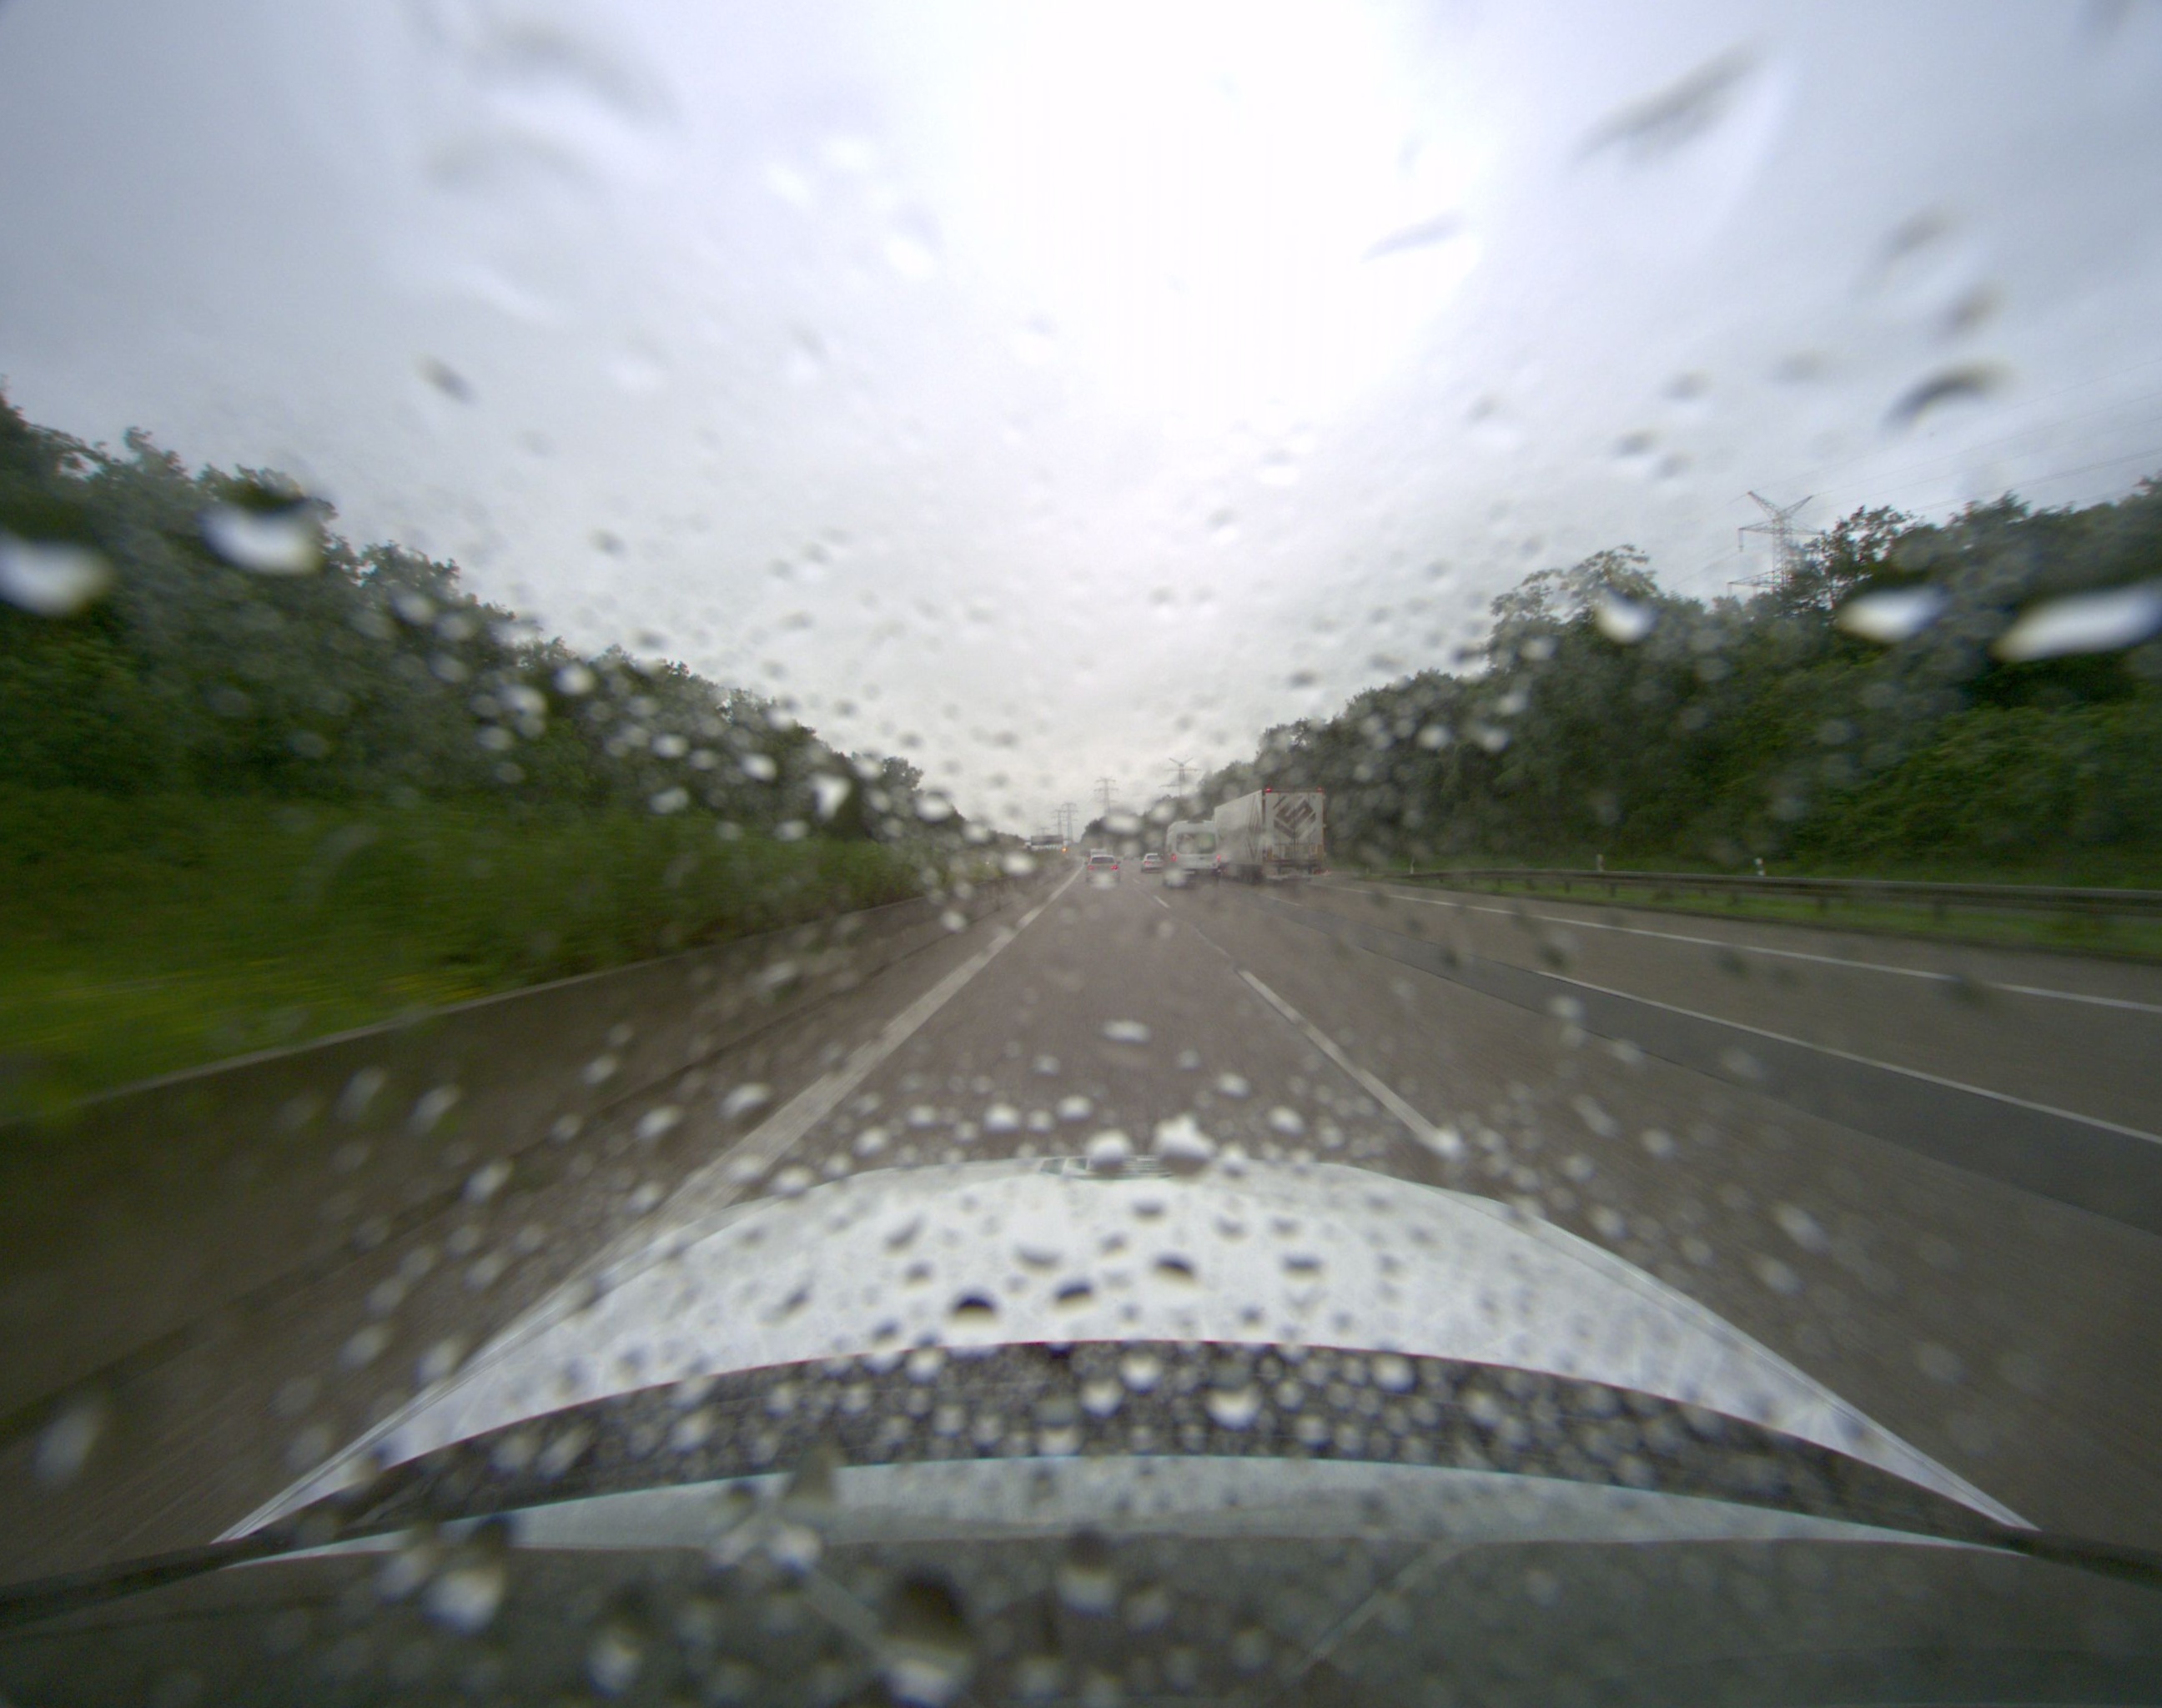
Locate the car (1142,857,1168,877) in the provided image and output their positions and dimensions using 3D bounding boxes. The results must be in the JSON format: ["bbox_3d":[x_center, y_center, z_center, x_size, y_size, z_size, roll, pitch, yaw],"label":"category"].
[{"bbox_3d":[5.491,0.946,60.304,1.847,1.422,4.007,-1,0,6],"label":"car"}]

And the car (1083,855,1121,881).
[{"bbox_3d":[1.178,0.708,43.159,1.859,1.288,4.003,-2,0,3],"label":"car"}]

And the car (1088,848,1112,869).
[{"bbox_3d":[1.700,0.386,72.984,1.837,1.772,4.005,-2,0,5],"label":"car"}]

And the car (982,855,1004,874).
[{"bbox_3d":[-9.893,1.114,91.816,1.988,2.013,4.748,-2,0,-1],"label":"car"}]

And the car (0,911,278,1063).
[{"bbox_3d":[-12.586,1.572,9.745,1.868,1.453,4.001,-2,0,2],"label":"car"}]

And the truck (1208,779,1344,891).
[{"bbox_3d":[8.791,-0.694,39.002,3.590,4.332,13.203,-2,-1,2],"label":"truck"}]

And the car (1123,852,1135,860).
[{"bbox_3d":[9.430,0.352,159.666,1.984,1.486,4.005,-4,-1,4],"label":"car"}]

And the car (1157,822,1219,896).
[{"bbox_3d":[4.457,0.210,34.389,1.987,2.864,3.999,-2,0,0],"label":"car"}]
